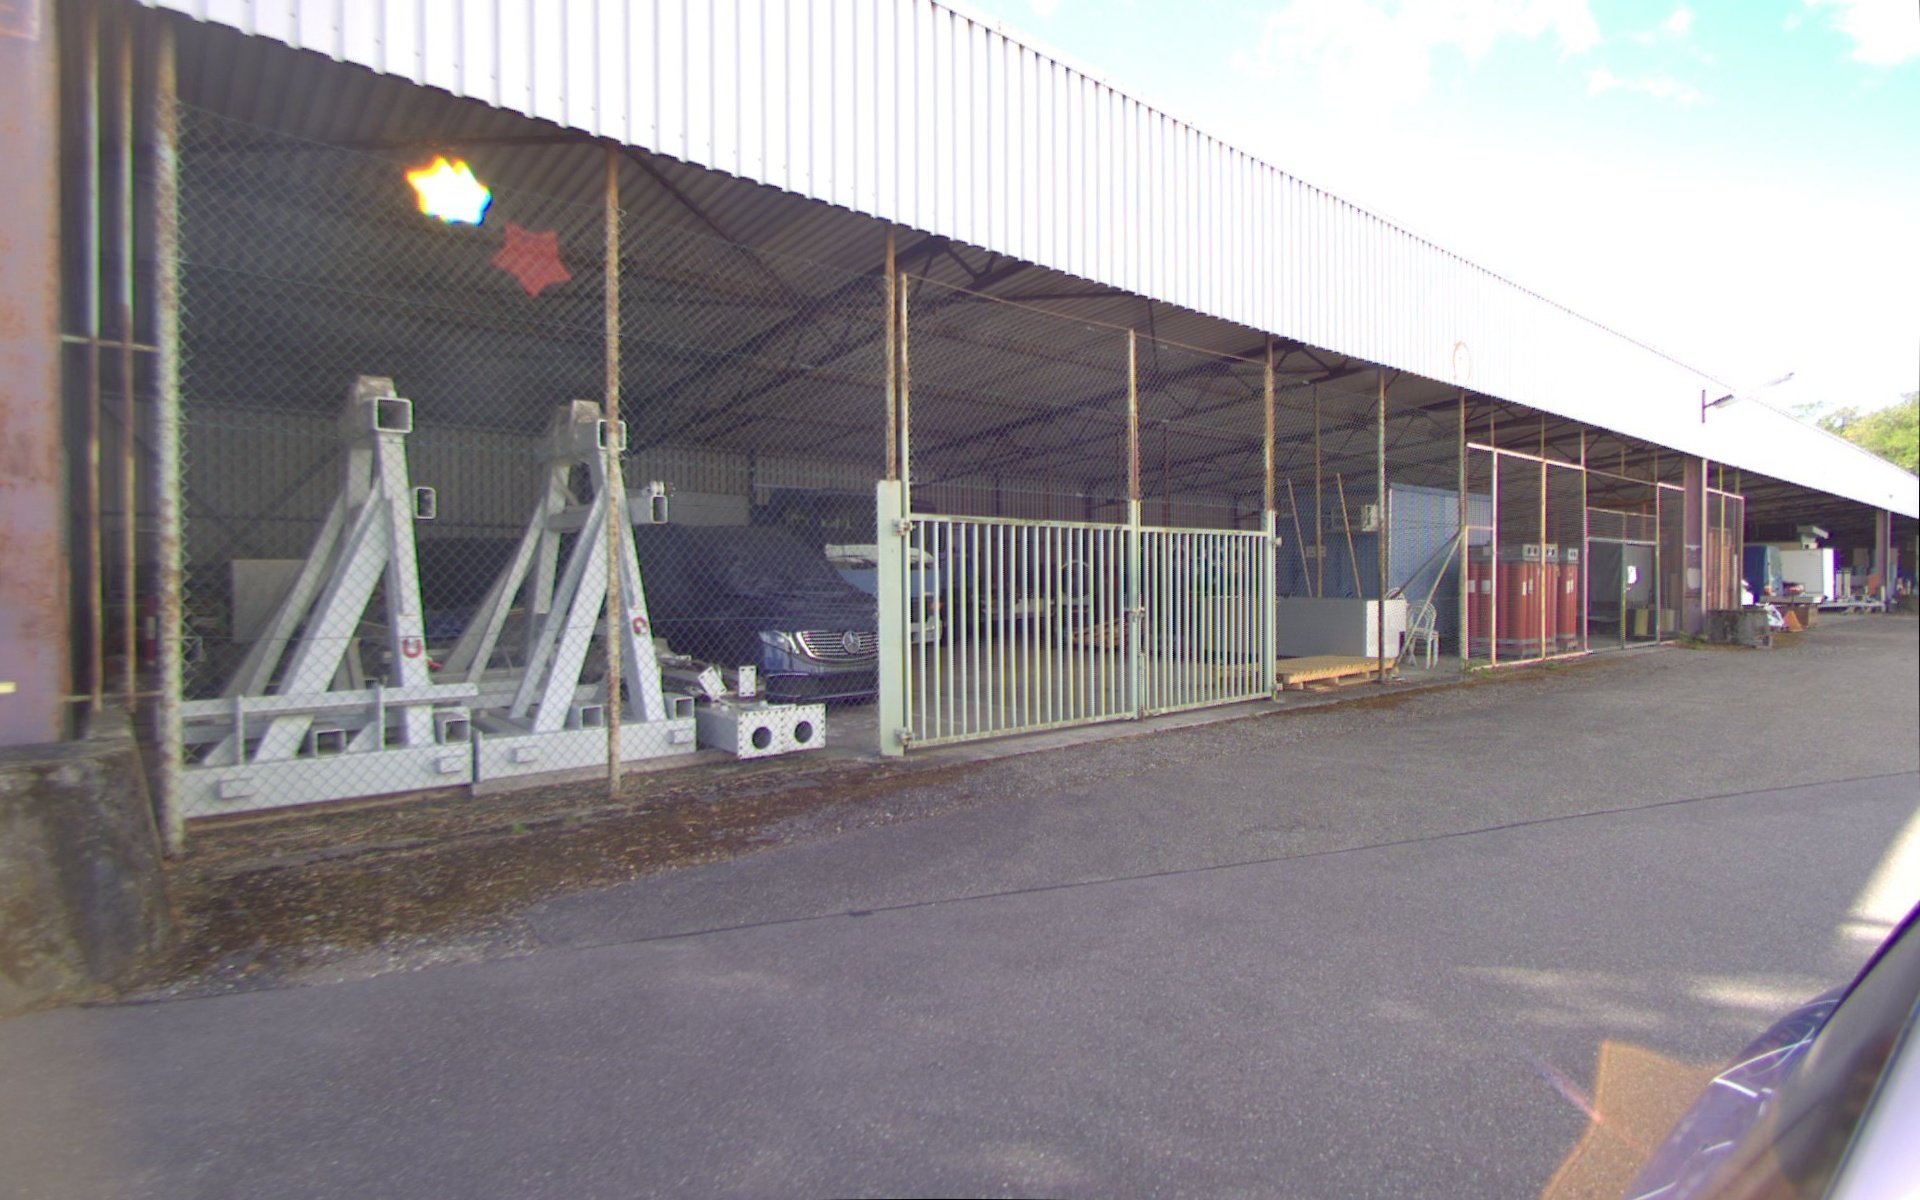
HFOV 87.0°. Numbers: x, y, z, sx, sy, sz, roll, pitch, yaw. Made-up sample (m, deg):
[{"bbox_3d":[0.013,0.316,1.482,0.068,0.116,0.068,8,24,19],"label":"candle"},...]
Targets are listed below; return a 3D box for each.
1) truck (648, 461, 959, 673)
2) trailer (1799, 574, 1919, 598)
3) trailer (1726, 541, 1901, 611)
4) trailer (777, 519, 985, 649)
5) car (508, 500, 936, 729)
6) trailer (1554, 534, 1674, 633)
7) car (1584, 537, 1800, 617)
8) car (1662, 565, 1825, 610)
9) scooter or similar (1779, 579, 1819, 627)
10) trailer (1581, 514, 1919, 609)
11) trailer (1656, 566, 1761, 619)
[{"bbox_3d":[-2.676,-0.513,15.964,2.324,2.739,5.578,-1,2,-40],"label":"truck"},{"bbox_3d":[46.261,-0.738,51.136,1.974,1.147,5.744,-1,2,-41],"label":"trailer"},{"bbox_3d":[30.742,-0.920,36.577,1.658,2.363,4.553,-1,3,-39],"label":"trailer"},{"bbox_3d":[-1.537,-0.326,18.932,2.419,2.164,3.413,-1,2,-38],"label":"trailer"},{"bbox_3d":[-2.855,0.061,11.228,2.242,1.942,5.167,-2,2,-45],"label":"car"},{"bbox_3d":[15.621,-0.442,24.125,3.463,2.169,1.579,-2,3,-43],"label":"trailer"},{"bbox_3d":[23.117,-0.749,32.147,2.048,2.325,5.226,-2,2,-41],"label":"car"},{"bbox_3d":[27.849,-0.495,36.075,1.834,1.451,4.349,-2,3,-43],"label":"car"},{"bbox_3d":[21.202,0.066,25.578,1.565,1.148,0.521,-2,2,-41],"label":"scooter or similar"},{"bbox_3d":[30.935,-1.578,40.216,2.627,3.335,10.319,-1,3,-39],"label":"trailer"},{"bbox_3d":[21.897,-0.255,29.620,1.611,1.480,2.100,-2,3,-37],"label":"trailer"}]
